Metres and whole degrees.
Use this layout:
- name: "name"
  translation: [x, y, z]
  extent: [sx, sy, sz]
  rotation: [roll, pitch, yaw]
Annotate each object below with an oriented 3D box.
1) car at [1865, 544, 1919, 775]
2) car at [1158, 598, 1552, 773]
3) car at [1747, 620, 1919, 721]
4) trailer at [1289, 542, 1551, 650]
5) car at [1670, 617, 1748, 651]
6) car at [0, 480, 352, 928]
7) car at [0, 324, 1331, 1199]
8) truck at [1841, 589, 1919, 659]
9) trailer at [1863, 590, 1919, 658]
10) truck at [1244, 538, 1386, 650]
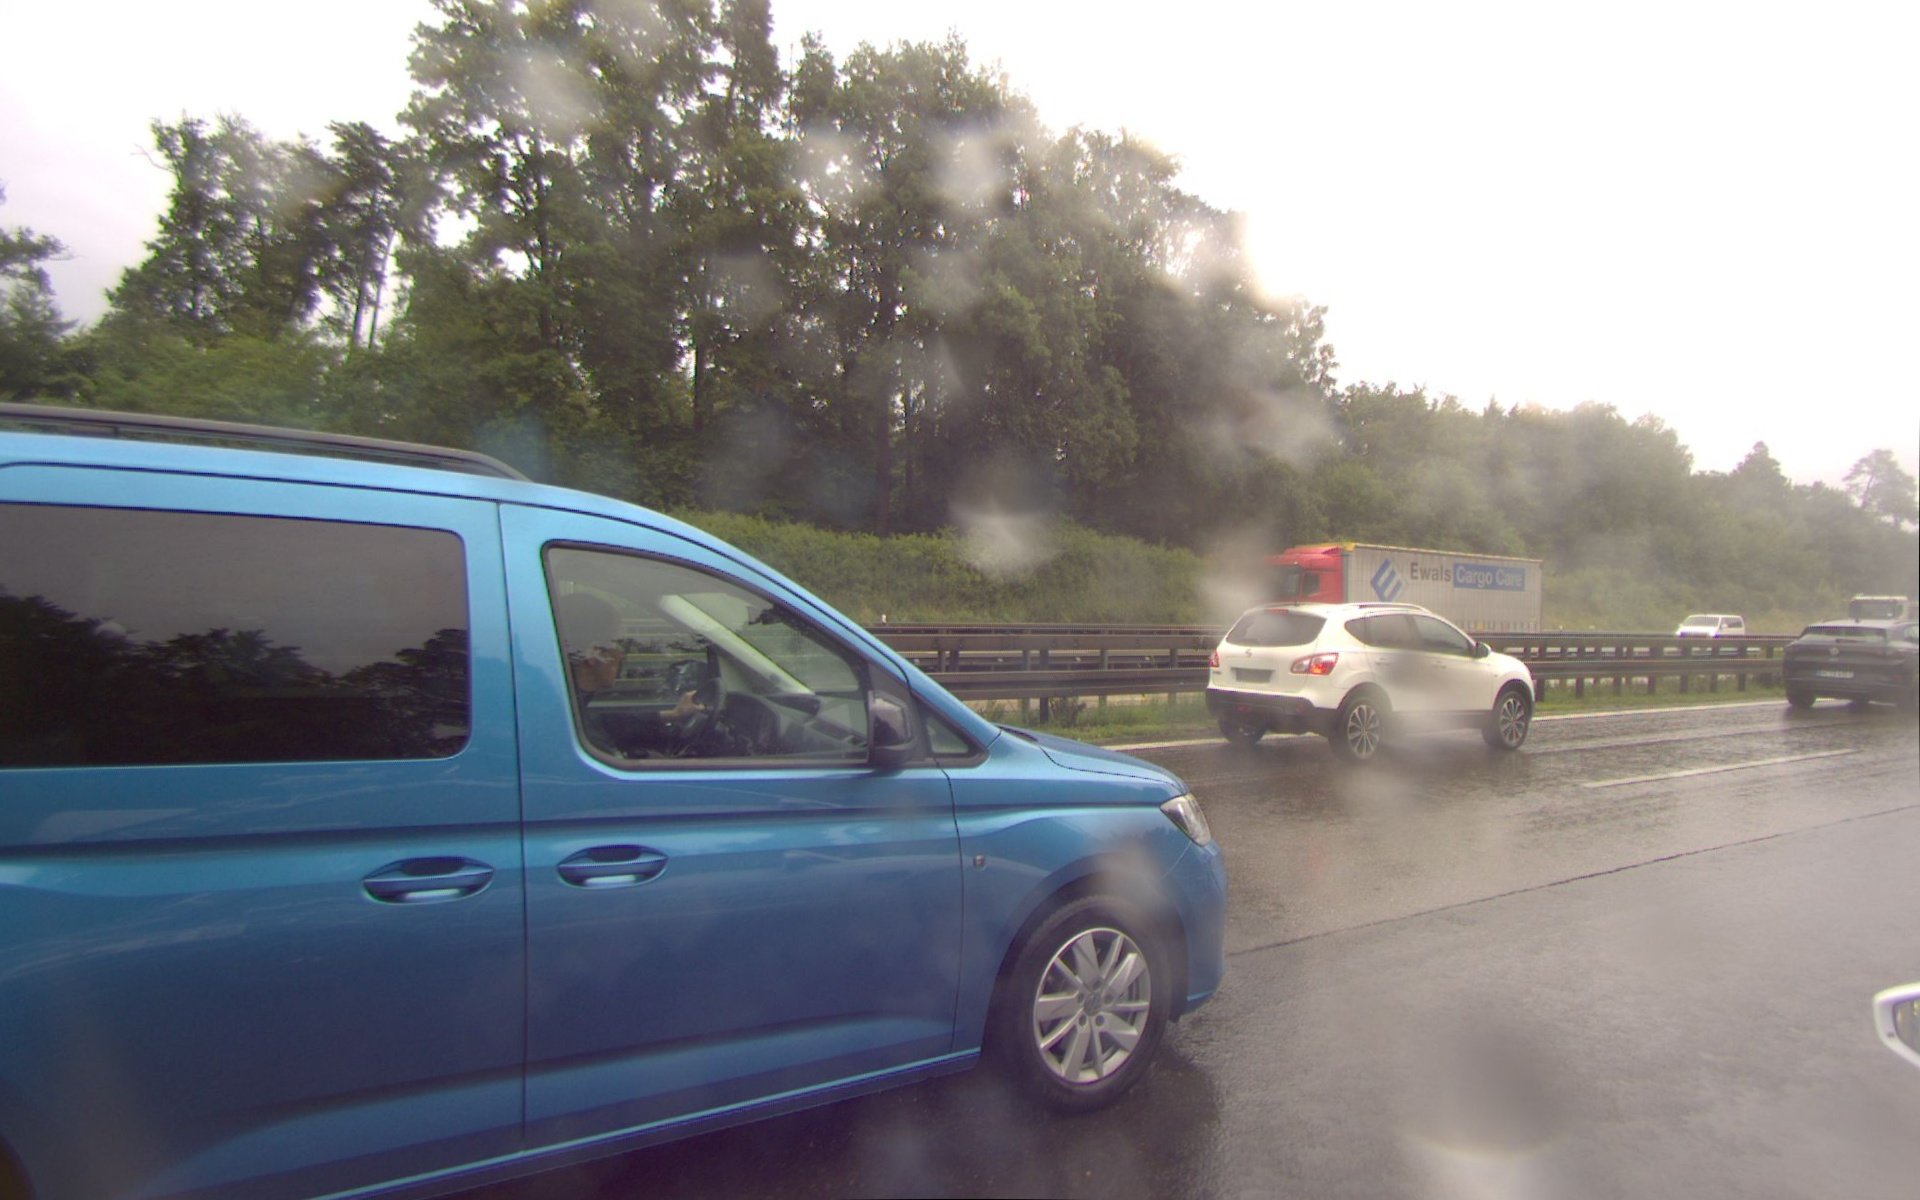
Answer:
- name: "car"
  translation: [13.317, 0.716, 12.024]
  extent: [4.954, 2.607, 2.203]
  rotation: [1, 0, -29]
- name: "car"
  translation: [4.504, 0.824, 11.279]
  extent: [4.416, 1.613, 1.836]
  rotation: [1, 0, -31]
- name: "car"
  translation: [16.623, 1.219, 18.526]
  extent: [4.414, 1.613, 1.836]
  rotation: [1, 0, -31]
- name: "trailer"
  translation: [19.595, 0.031, 42.105]
  extent: [13.801, 4.006, 2.706]
  rotation: [2, -2, -31]
- name: "car"
  translation: [40.927, 1.816, 54.840]
  extent: [4.989, 1.793, 1.980]
  rotation: [1, -1, -35]
- name: "car"
  translation: [-5.887, 0.417, 4.604]
  extent: [5.180, 1.970, 1.982]
  rotation: [2, 0, -30]
- name: "car"
  translation: [-1.499, 0.513, 3.032]
  extent: [4.955, 1.937, 2.259]
  rotation: [1, 0, -30]
- name: "truck"
  translation: [55.407, 1.445, 59.960]
  extent: [6.462, 4.006, 2.365]
  rotation: [1, -1, -31]
- name: "trailer"
  translation: [59.375, 1.520, 62.360]
  extent: [9.314, 4.006, 2.365]
  rotation: [2, -1, -31]
- name: "truck"
  translation: [13.587, -0.135, 38.455]
  extent: [4.835, 4.006, 2.690]
  rotation: [1, -2, -31]
